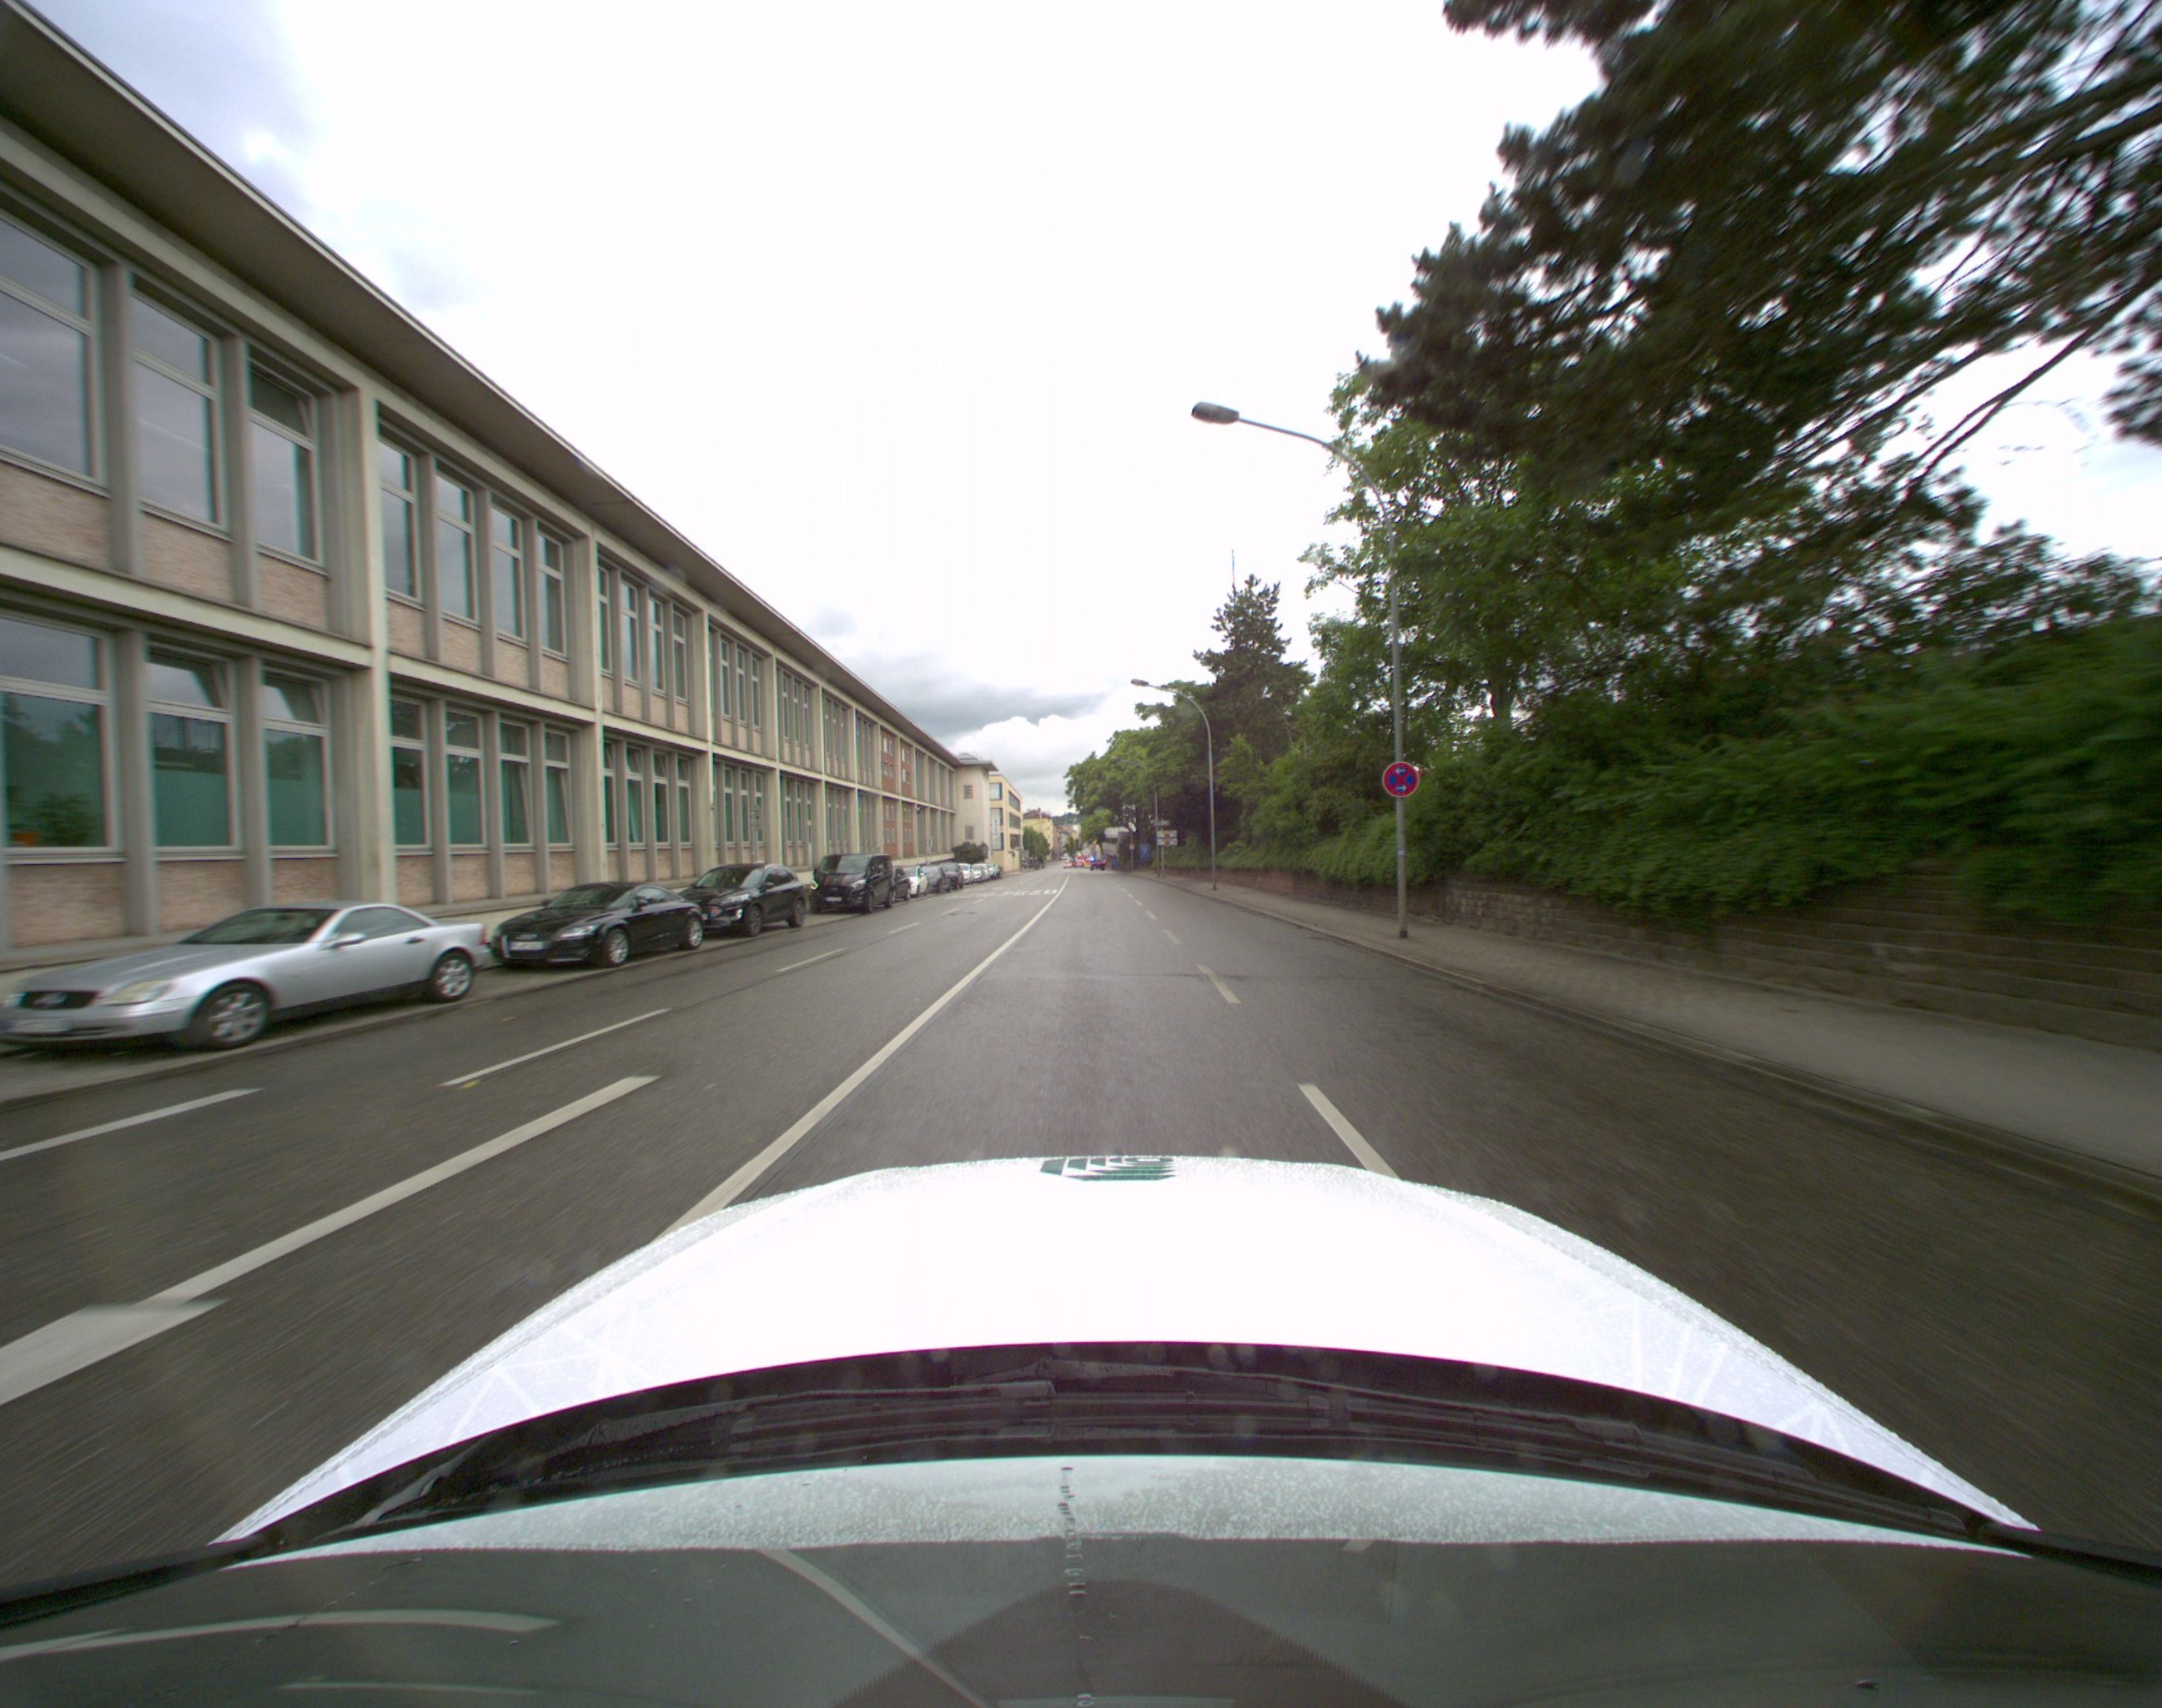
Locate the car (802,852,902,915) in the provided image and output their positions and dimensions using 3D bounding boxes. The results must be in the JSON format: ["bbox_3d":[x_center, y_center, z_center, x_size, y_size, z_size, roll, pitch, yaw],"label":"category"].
[{"bbox_3d":[-7.848,0.927,28.435,1.942,1.944,4.997,-2,0,1],"label":"car"}]

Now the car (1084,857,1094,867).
[{"bbox_3d":[1.630,1.665,165.227,1.987,1.837,4.000,-4,0,0],"label":"car"}]

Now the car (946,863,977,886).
[{"bbox_3d":[-8.645,1.452,59.195,1.674,1.522,3.919,-1,0,0],"label":"car"}]

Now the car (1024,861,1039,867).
[{"bbox_3d":[-12.609,2.424,205.537,3.651,1.234,1.438,-4,1,-7],"label":"car"}]

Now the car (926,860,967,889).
[{"bbox_3d":[-8.207,1.235,49.923,1.836,1.653,4.513,0,-1,-1],"label":"car"}]

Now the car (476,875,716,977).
[{"bbox_3d":[-8.198,1.136,14.271,1.536,1.353,4.113,-2,0,3],"label":"car"}]

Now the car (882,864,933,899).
[{"bbox_3d":[-8.193,1.252,38.666,1.560,1.484,3.553,-2,0,1],"label":"car"}]

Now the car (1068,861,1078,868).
[{"bbox_3d":[-1.804,2.366,184.921,1.991,1.680,3.992,-1,0,-6],"label":"car"}]

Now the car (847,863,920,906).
[{"bbox_3d":[-8.148,1.219,33.967,1.854,1.552,4.313,-2,0,1],"label":"car"}]

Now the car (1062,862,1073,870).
[{"bbox_3d":[-2.967,2.613,175.780,1.991,1.680,3.992,-1,0,-6],"label":"car"}]

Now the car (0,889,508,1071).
[{"bbox_3d":[-8.608,1.147,8.831,1.684,1.297,4.096,-2,0,3],"label":"car"}]

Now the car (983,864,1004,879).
[{"bbox_3d":[-8.632,1.726,80.377,1.743,1.480,4.178,0,0,-2],"label":"car"}]

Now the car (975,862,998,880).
[{"bbox_3d":[-8.690,1.581,75.194,1.743,1.598,4.179,0,0,-1],"label":"car"}]

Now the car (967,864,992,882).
[{"bbox_3d":[-8.651,1.590,69.880,1.743,1.454,4.178,0,0,-2],"label":"car"}]

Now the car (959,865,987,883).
[{"bbox_3d":[-8.496,1.553,64.420,1.743,1.435,4.482,0,-1,-2],"label":"car"}]

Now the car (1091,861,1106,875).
[{"bbox_3d":[2.674,2.095,124.936,2.085,1.910,4.099,-4,1,0],"label":"car"}]

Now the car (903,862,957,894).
[{"bbox_3d":[-8.042,1.235,43.806,1.809,1.484,4.910,-2,0,1],"label":"car"}]

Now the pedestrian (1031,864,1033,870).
[{"bbox_3d":[-11.787,3.138,195.999,0.451,1.278,0.455,-2,0,10],"label":"pedestrian"}]

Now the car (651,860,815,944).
[{"bbox_3d":[-8.147,1.047,19.613,1.790,1.675,4.605,-2,0,2],"label":"car"}]
